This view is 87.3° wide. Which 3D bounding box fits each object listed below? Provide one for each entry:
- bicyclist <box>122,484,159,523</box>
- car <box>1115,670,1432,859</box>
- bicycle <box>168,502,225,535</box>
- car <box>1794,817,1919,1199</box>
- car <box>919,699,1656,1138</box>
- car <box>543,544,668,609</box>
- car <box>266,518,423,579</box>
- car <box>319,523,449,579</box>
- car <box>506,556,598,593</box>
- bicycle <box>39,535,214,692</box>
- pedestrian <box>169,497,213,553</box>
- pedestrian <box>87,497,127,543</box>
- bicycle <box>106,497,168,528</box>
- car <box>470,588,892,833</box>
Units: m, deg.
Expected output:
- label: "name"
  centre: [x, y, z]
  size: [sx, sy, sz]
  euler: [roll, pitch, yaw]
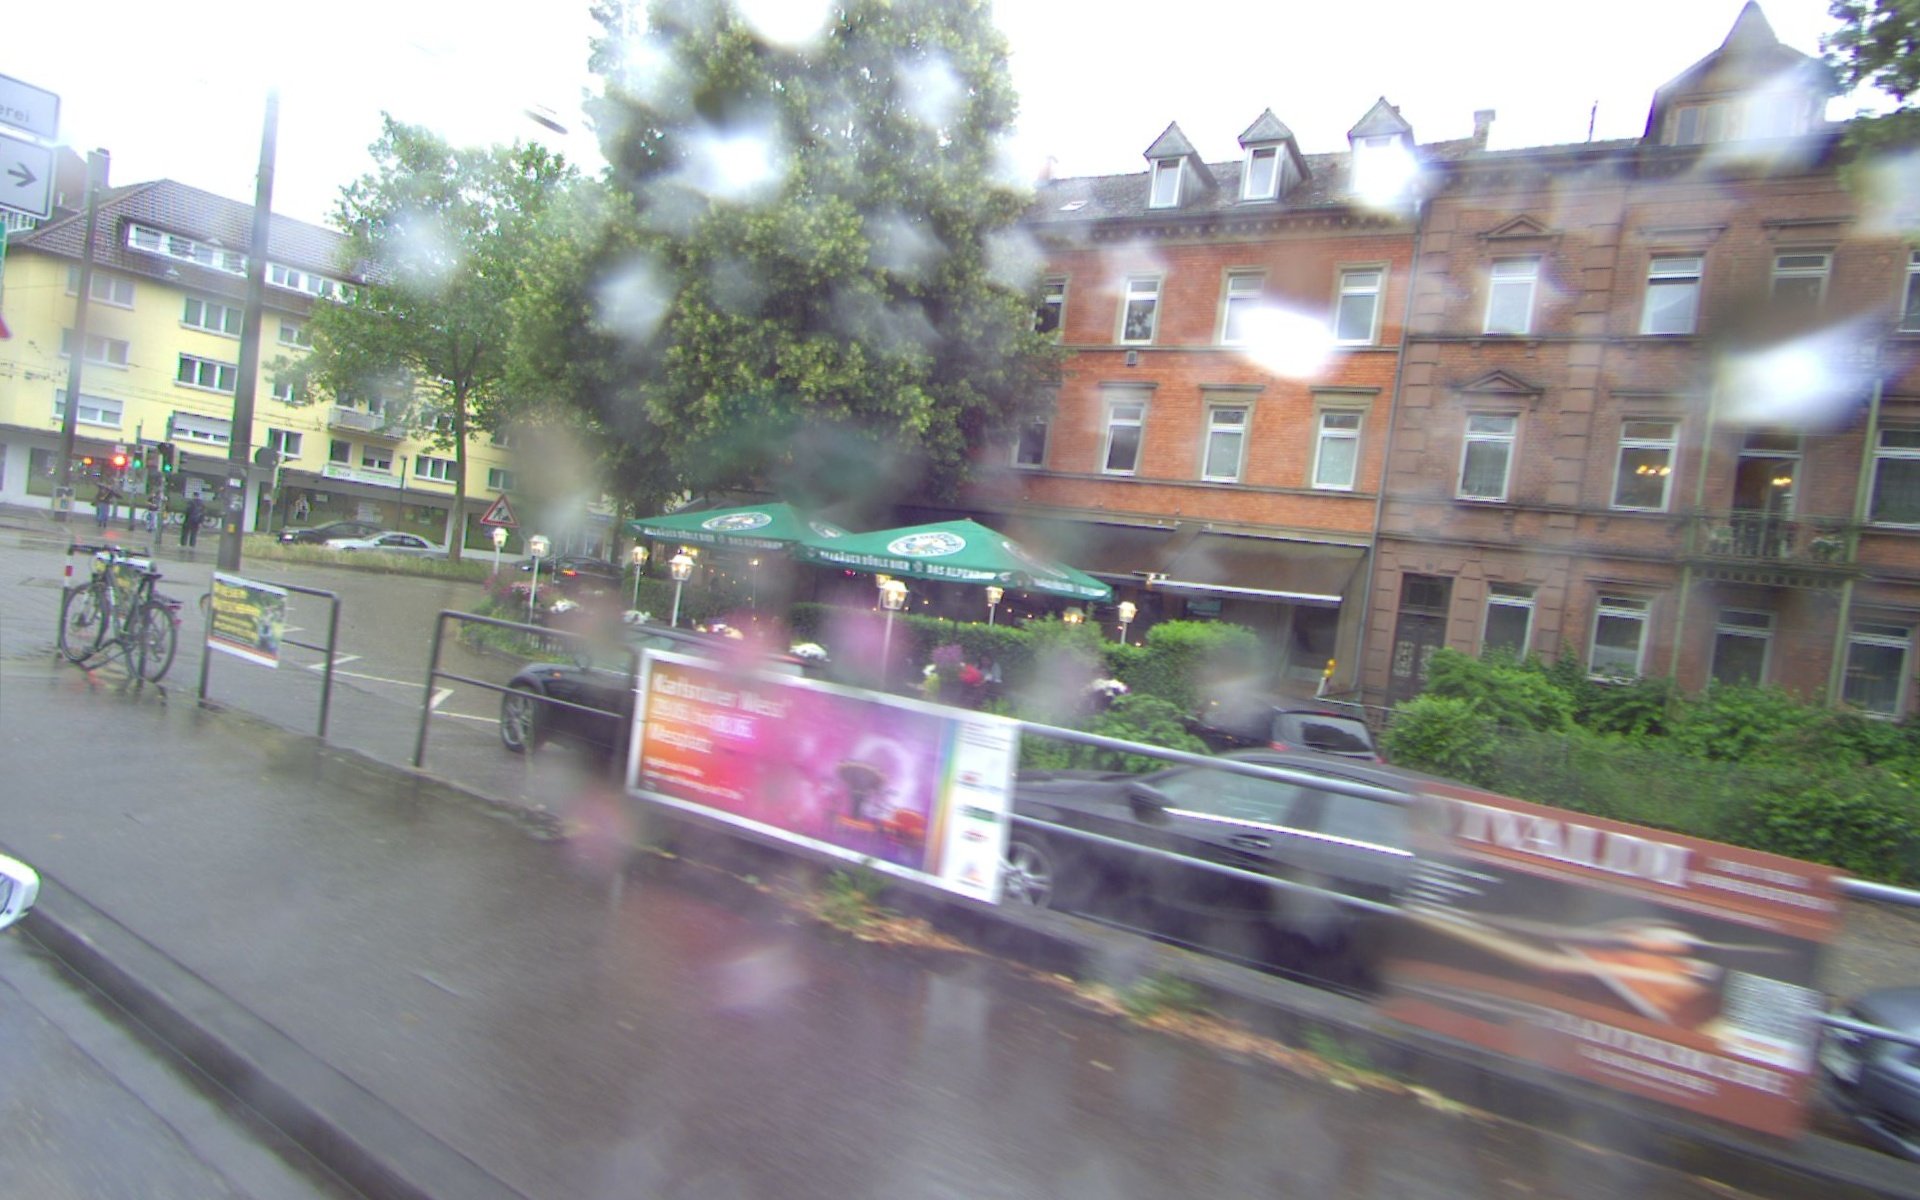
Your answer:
- label: "bicyclist"
  centre: [-36.809, -4.332, 45.184]
  size: [0.924, 1.566, 1.064]
  euler: [7, -1, 43]
- label: "car"
  centre: [4.029, 2.096, 13.701]
  size: [1.972, 1.733, 3.984]
  euler: [8, -1, -19]
- label: "bicycle"
  centre: [-37.703, -4.036, 49.704]
  size: [2.096, 1.277, 0.525]
  euler: [8, 0, -44]
- label: "car"
  centre: [6.136, 2.137, 3.953]
  size: [4.006, 1.557, 1.736]
  euler: [7, -1, 30]
- label: "car"
  centre: [1.897, 1.645, 6.381]
  size: [3.907, 1.416, 1.706]
  euler: [7, -1, 32]
- label: "car"
  centre: [-13.749, -0.876, 39.147]
  size: [1.972, 1.888, 3.983]
  euler: [7, -1, 41]
- label: "car"
  centre: [-24.540, -2.010, 40.252]
  size: [1.975, 1.661, 4.928]
  euler: [4, -4, 44]
- label: "car"
  centre: [-22.069, -1.865, 38.608]
  size: [3.926, 1.508, 1.784]
  euler: [9, 0, -43]
- label: "car"
  centre: [-17.683, -1.073, 43.729]
  size: [1.227, 1.095, 3.531]
  euler: [7, -2, 35]
- label: "bicycle"
  centre: [-7.425, 0.093, 8.927]
  size: [1.984, 1.119, 0.515]
  euler: [7, -3, 34]
- label: "pedestrian"
  centre: [-25.125, -2.435, 32.905]
  size: [0.899, 1.689, 1.011]
  euler: [8, 0, -33]
- label: "pedestrian"
  centre: [-31.412, -2.949, 37.044]
  size: [0.612, 1.552, 0.816]
  euler: [7, 0, -6]
- label: "bicycle"
  centre: [-36.929, -3.940, 45.176]
  size: [0.651, 1.039, 2.014]
  euler: [7, -1, 44]
- label: "car"
  centre: [-2.604, 0.937, 9.217]
  size: [3.468, 1.457, 1.710]
  euler: [8, -3, 34]
